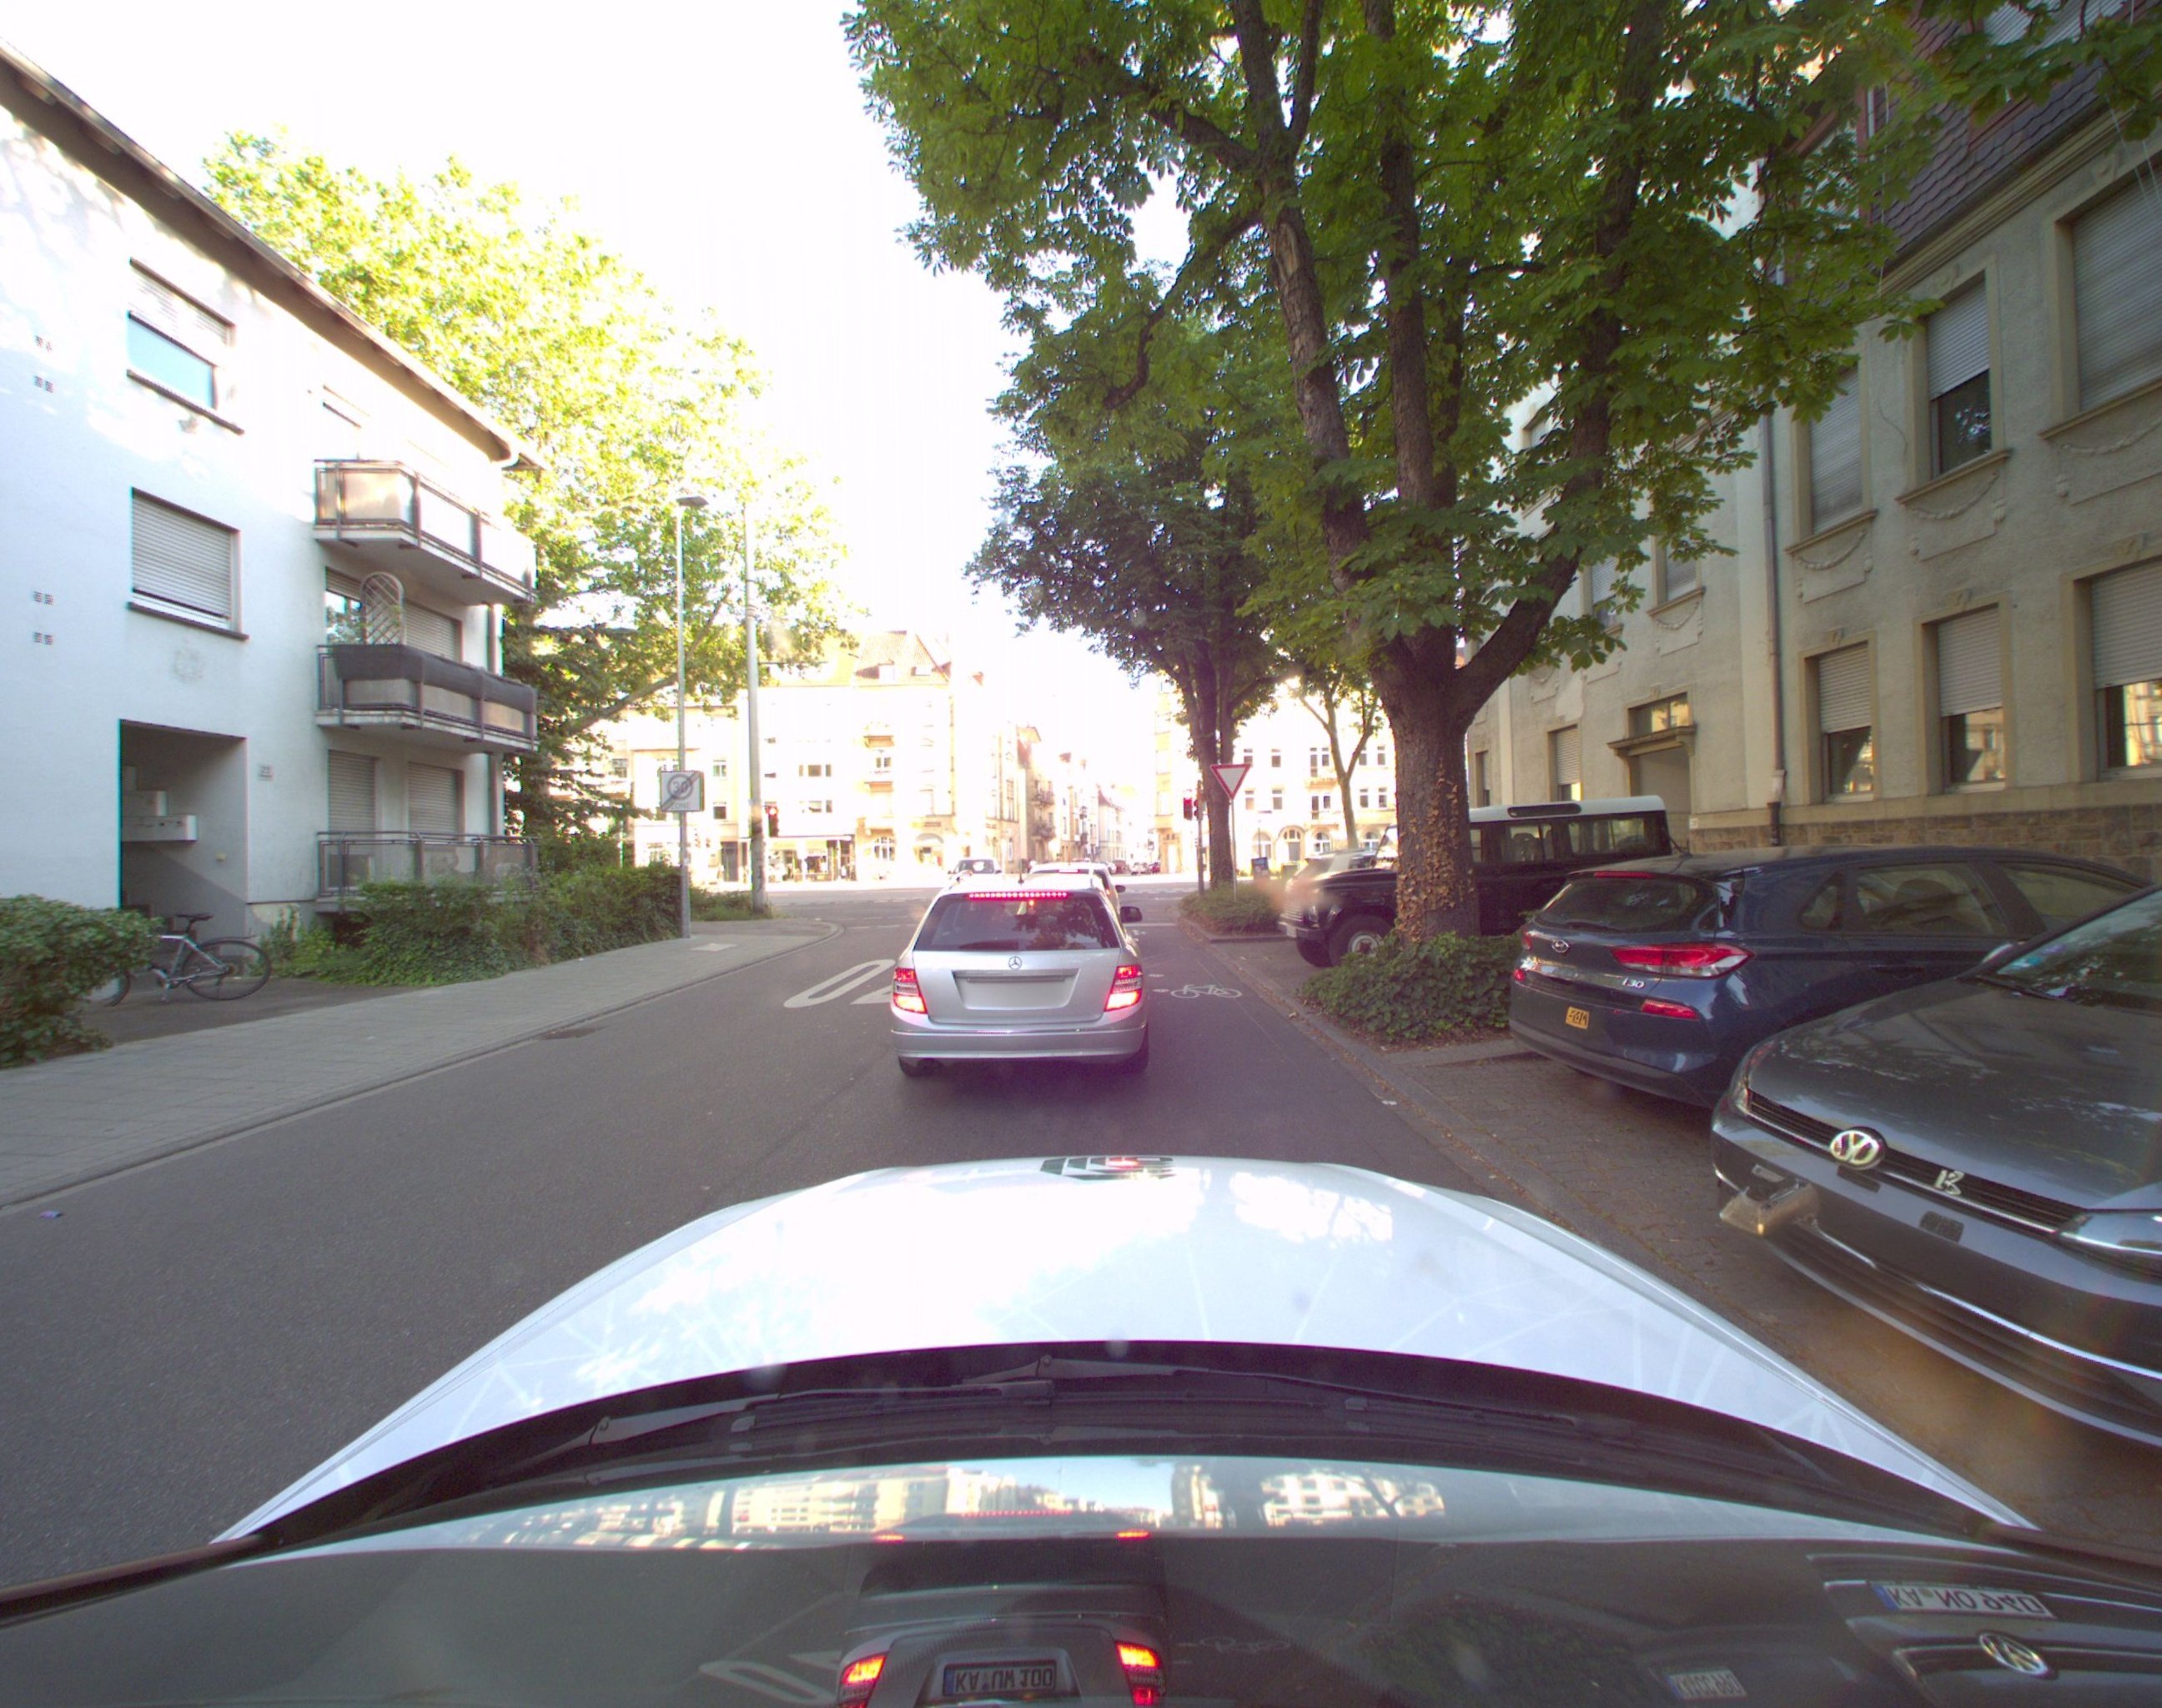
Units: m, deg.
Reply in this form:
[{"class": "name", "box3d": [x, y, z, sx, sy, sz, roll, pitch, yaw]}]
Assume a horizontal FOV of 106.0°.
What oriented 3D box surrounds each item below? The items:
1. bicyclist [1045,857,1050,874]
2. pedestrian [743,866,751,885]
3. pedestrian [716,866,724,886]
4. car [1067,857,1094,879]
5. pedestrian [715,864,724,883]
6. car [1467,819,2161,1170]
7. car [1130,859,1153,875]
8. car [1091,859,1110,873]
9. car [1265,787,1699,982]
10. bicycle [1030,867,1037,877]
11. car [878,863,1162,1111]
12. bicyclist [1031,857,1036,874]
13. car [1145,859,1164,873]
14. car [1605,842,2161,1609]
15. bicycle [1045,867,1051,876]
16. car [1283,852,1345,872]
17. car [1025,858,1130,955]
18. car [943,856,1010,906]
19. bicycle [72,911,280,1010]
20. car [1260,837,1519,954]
[{"class": "bicyclist", "box3d": [-3.012, 1.037, 73.552, 0.465, 1.521, 0.693, -1, 0, -2]}, {"class": "pedestrian", "box3d": [-26.802, 1.721, 65.340, 0.474, 1.511, 0.428, -1, 0, -18]}, {"class": "pedestrian", "box3d": [-28.510, 1.749, 64.338, 0.509, 1.511, 0.534, -1, 0, -17]}, {"class": "car", "box3d": [-0.050, 1.348, 80.150, 1.926, 1.958, 4.161, -2, 0, 10]}, {"class": "pedestrian", "box3d": [-28.434, 1.514, 63.993, 0.566, 1.511, 0.499, -1, 0, -17]}, {"class": "car", "box3d": [4.431, 0.613, 4.534, 3.739, 1.422, 1.627, -3, -1, -2]}, {"class": "car", "box3d": [6.409, 1.325, 85.866, 1.708, 1.478, 4.016, -3, 0, 14]}, {"class": "car", "box3d": [2.526, 1.537, 102.548, 1.639, 1.783, 3.876, -1, -1, 13]}, {"class": "car", "box3d": [4.789, 0.349, 10.190, 4.478, 1.956, 1.792, -3, 0, -1]}, {"class": "bicycle", "box3d": [-4.297, 1.614, 73.557, 0.567, 0.834, 1.565, -1, 0, -1]}, {"class": "car", "box3d": [-0.379, 0.808, 6.591, 1.685, 1.429, 3.491, 0, 0, -1]}, {"class": "bicyclist", "box3d": [-4.290, 1.063, 73.590, 0.465, 1.514, 0.655, -1, 0, -2]}, {"class": "car", "box3d": [9.220, 1.462, 102.028, 1.709, 1.478, 4.016, -6, -1, 14]}, {"class": "car", "box3d": [4.075, 0.661, 2.361, 4.037, 1.422, 1.627, -3, -1, -2]}, {"class": "bicycle", "box3d": [-2.978, 1.577, 73.538, 0.567, 0.834, 1.565, -1, 0, -1]}, {"class": "car", "box3d": [14.098, 0.473, 49.357, 3.352, 1.069, 1.380, -2, 0, 0]}, {"class": "car", "box3d": [-0.037, 0.784, 13.798, 1.528, 1.391, 3.599, -1, 0, 0]}, {"class": "car", "box3d": [-3.440, 0.847, 27.401, 1.609, 1.501, 3.594, -1, 0, 2]}, {"class": "bicycle", "box3d": [-10.009, 1.154, 9.078, 1.469, 0.975, 0.402, 2, -2, -38]}, {"class": "car", "box3d": [4.861, 0.615, 13.134, 3.475, 1.586, 1.708, -3, 0, -5]}]
